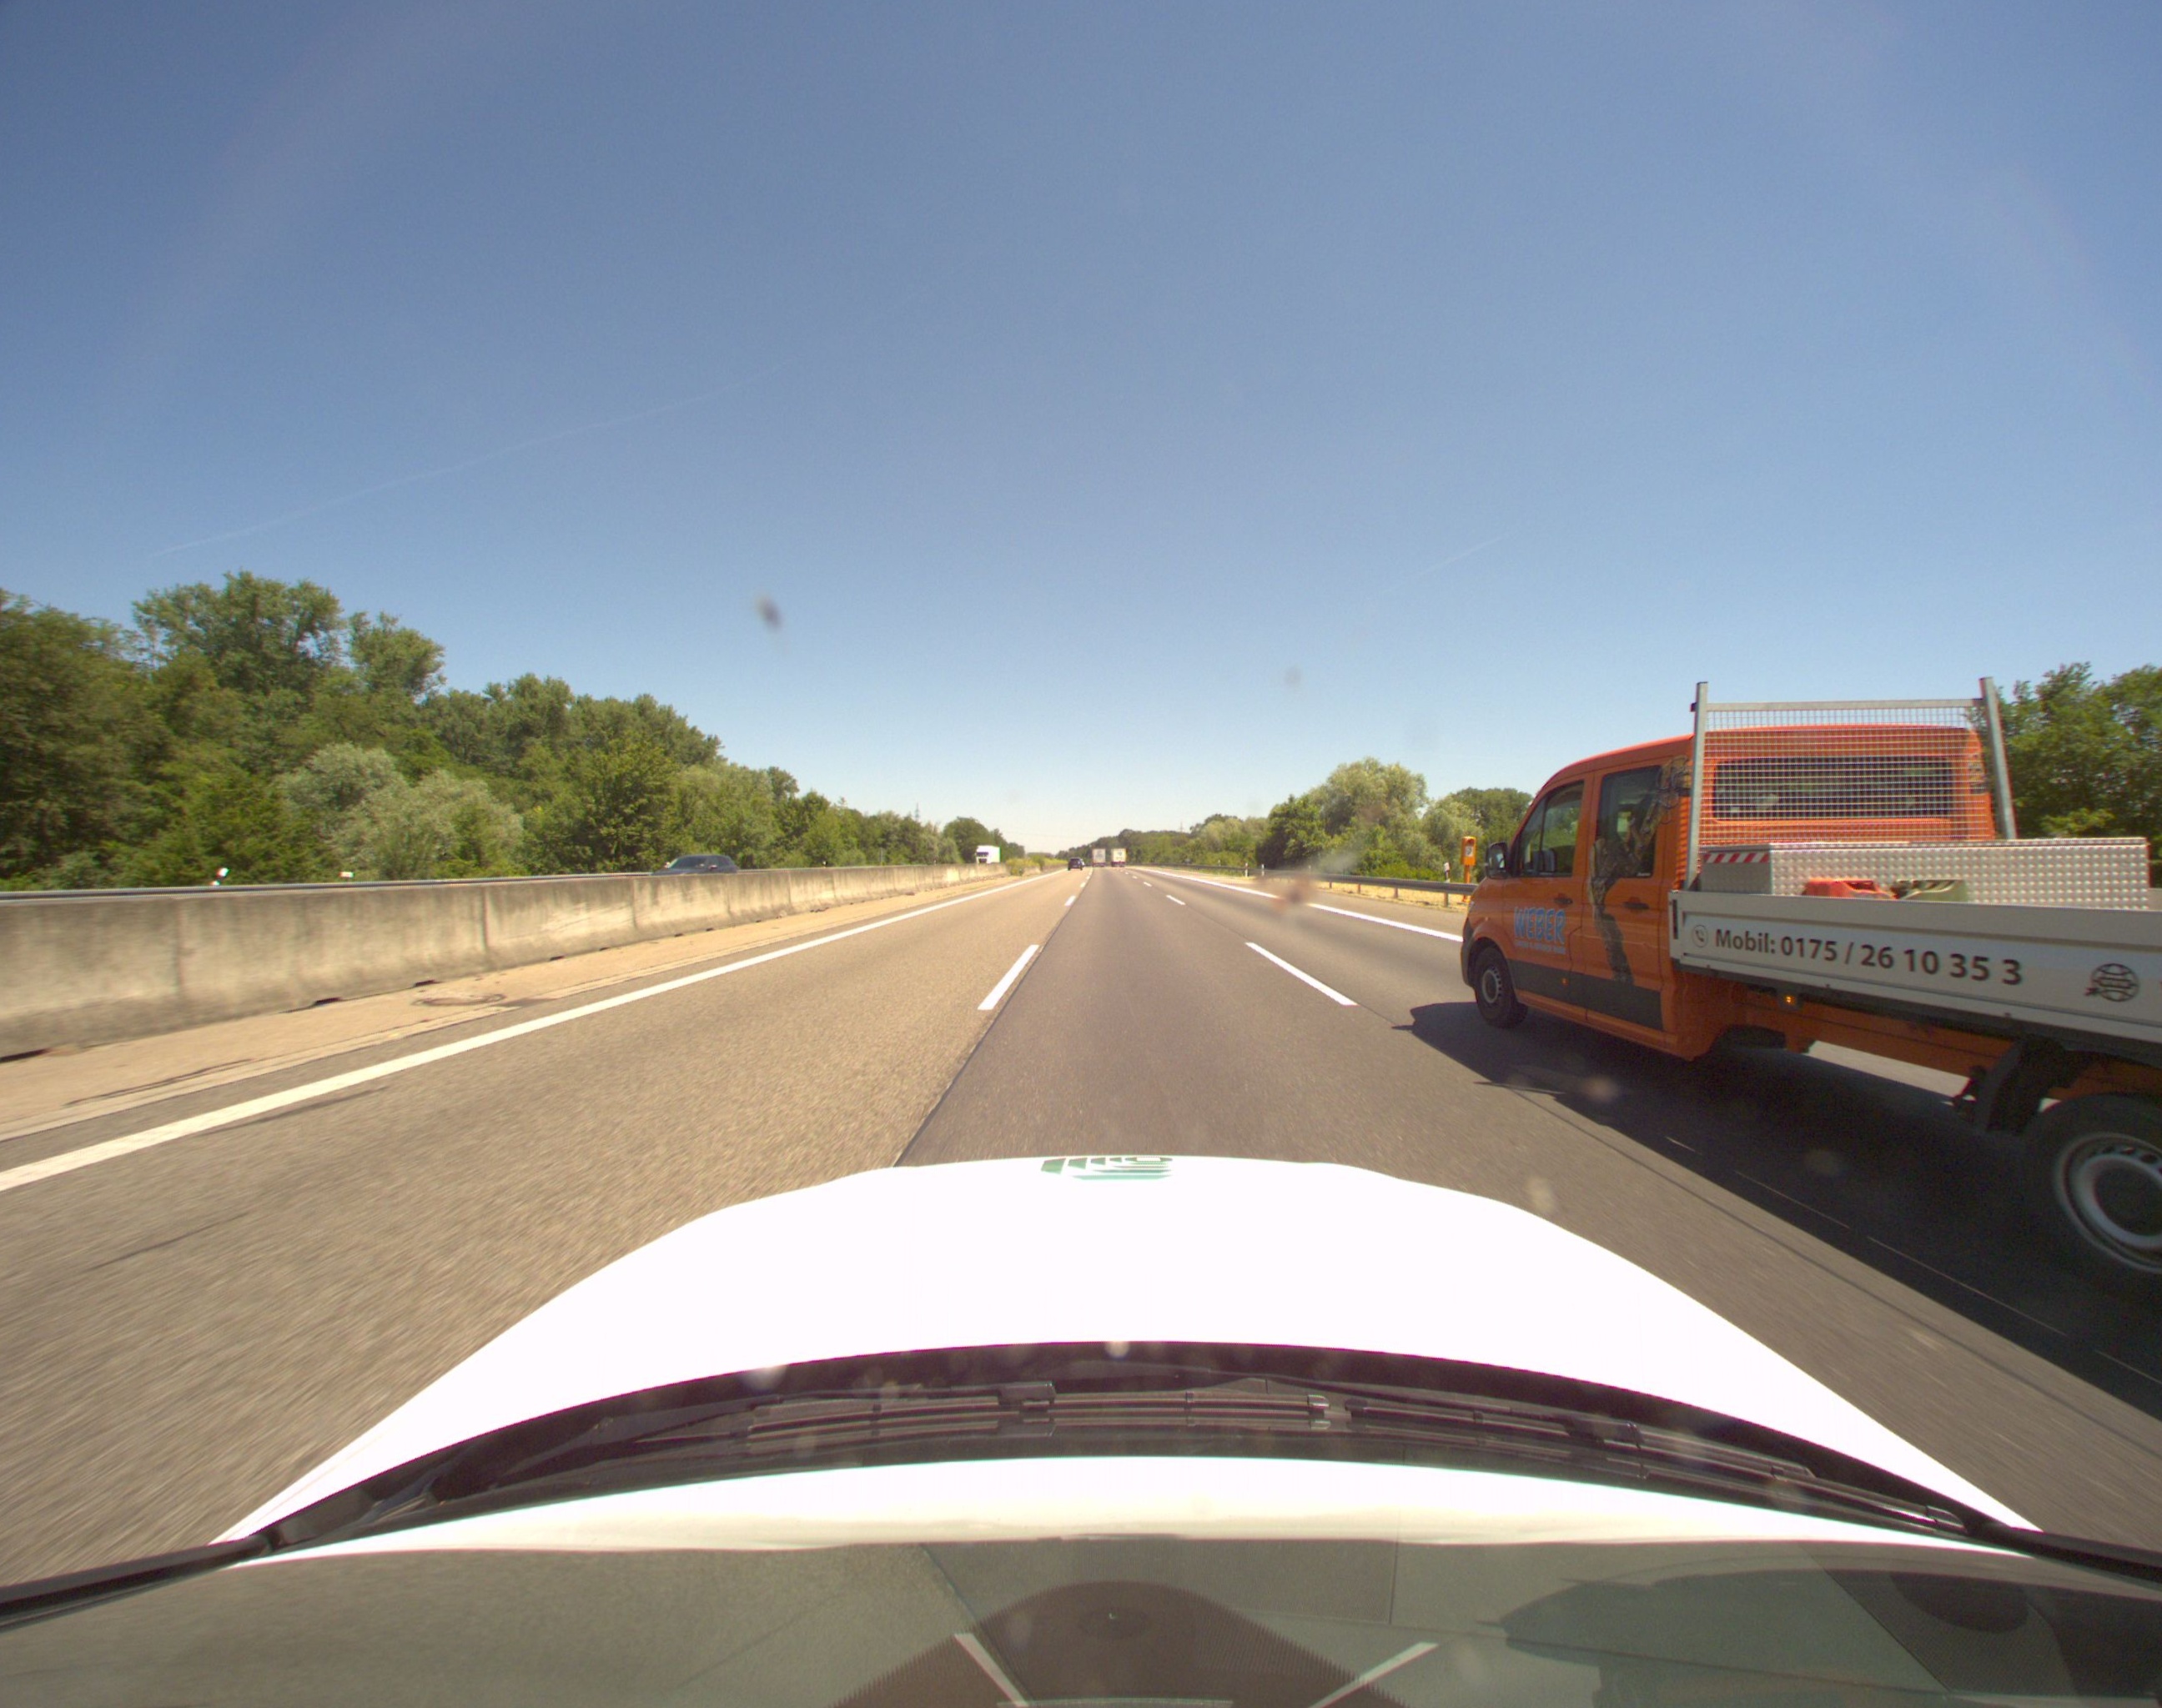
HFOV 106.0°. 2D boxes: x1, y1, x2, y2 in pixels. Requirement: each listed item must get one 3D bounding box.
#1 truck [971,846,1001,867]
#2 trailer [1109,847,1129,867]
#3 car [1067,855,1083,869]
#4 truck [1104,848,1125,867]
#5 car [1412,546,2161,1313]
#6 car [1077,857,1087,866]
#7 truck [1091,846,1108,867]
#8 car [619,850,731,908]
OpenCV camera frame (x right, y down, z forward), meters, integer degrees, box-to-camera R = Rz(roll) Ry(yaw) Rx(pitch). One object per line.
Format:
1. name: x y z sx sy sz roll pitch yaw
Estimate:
1. truck: -17.713 0.432 153.346 3.586 3.735 17.483 0 0 0
2. trailer: 8.077 0.708 174.662 3.361 4.143 9.079 0 0 -4
3. car: -0.767 1.117 110.672 1.986 1.874 4.001 0 0 2
4. truck: 7.438 0.778 183.863 3.320 4.053 10.934 0 0 -5
5. car: 4.467 0.250 5.198 1.986 2.405 7.229 0 0 2
6. car: 0.172 1.460 161.961 1.988 1.874 3.998 1 0 -1
7. truck: 3.841 0.516 168.897 3.218 4.202 8.466 2 0 1
8. car: -14.924 0.863 30.218 1.986 2.014 4.087 0 0 2
